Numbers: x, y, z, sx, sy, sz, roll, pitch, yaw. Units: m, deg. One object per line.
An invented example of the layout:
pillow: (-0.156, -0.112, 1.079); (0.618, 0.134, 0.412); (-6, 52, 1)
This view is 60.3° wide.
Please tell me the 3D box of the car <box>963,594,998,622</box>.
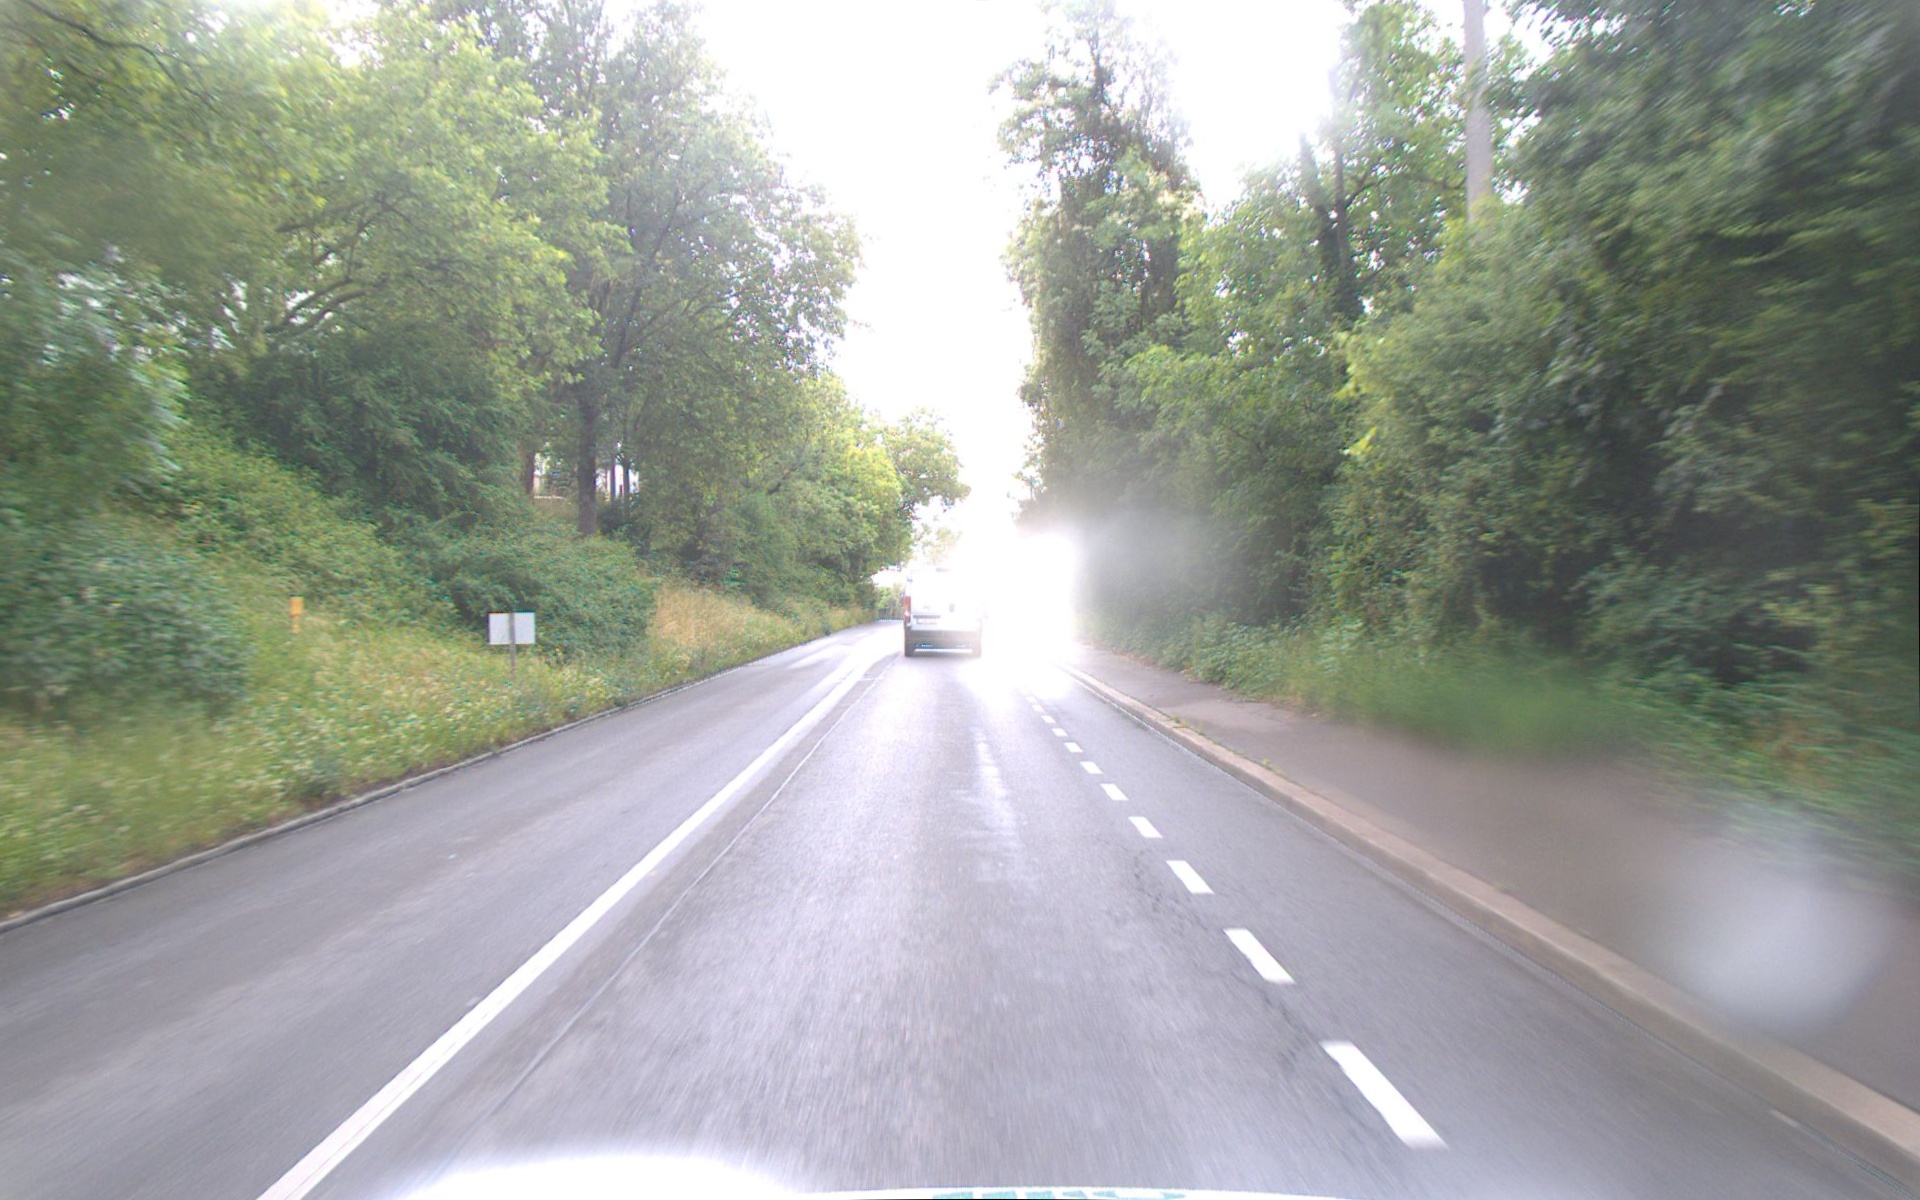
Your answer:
car: (1.376, 0.564, 113.487); (2.192, 1.836, 4.712); (1, 0, -1)

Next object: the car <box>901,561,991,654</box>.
car: (-0.376, 0.198, 43.299); (2.192, 2.252, 4.712); (1, 0, -1)
